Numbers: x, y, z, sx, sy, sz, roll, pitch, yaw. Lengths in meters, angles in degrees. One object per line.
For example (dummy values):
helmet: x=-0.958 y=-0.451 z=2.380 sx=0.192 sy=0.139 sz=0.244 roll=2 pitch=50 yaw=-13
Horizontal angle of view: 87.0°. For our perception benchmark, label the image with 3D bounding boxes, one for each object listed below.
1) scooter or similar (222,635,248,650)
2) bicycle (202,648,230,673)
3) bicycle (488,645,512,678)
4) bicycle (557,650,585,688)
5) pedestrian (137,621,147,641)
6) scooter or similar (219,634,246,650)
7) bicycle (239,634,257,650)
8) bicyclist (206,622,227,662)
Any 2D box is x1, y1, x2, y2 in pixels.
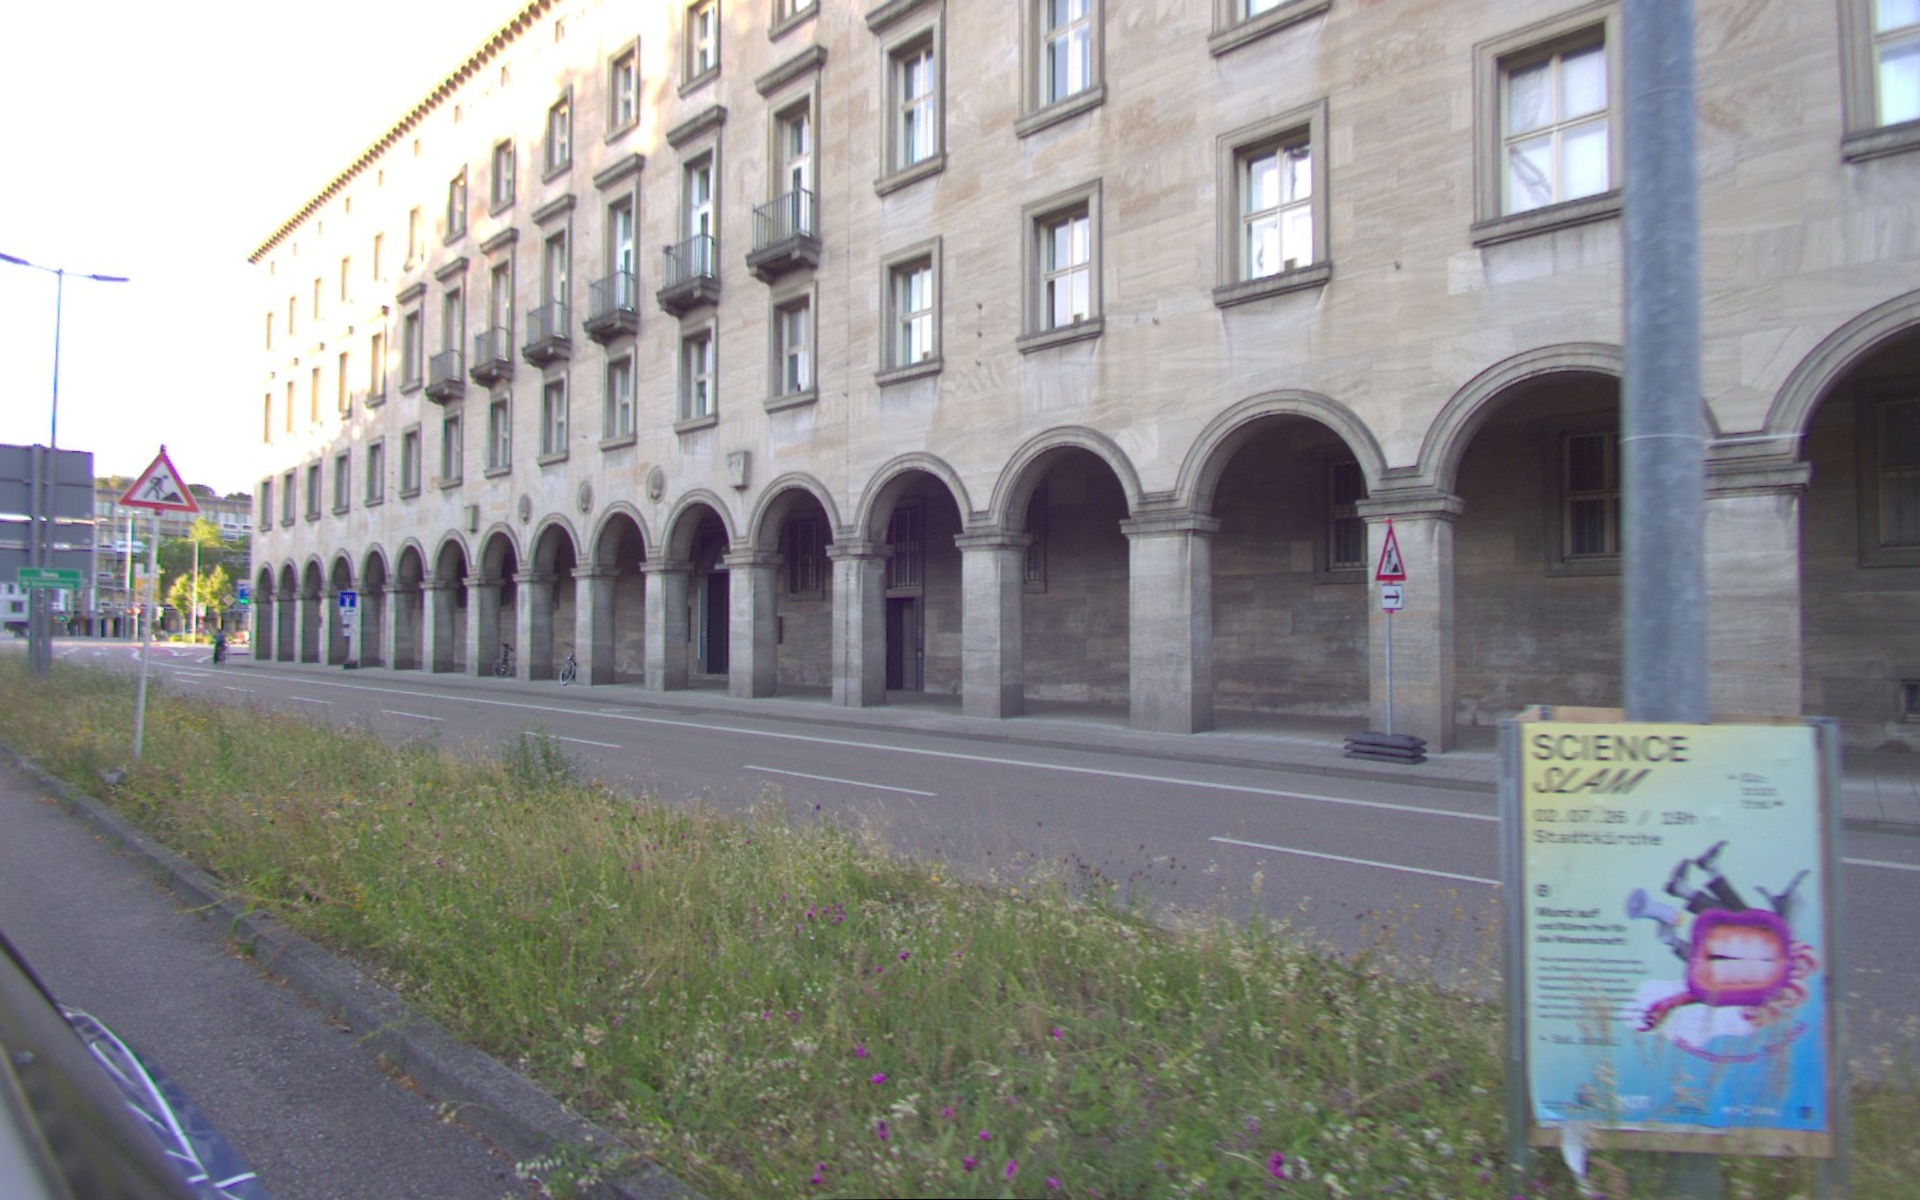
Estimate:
scooter or similar: x=-62.848 y=3.658 z=87.752 sx=0.416 sy=1.315 sz=1.772 roll=-1 pitch=-2 yaw=35
bicycle: x=-32.149 y=2.603 z=43.704 sx=2.004 sy=1.013 sz=0.536 roll=-1 pitch=-2 yaw=41
bicycle: x=-14.660 y=1.946 z=32.237 sx=0.470 sy=1.013 sz=2.011 roll=1 pitch=-2 yaw=-30
bicycle: x=-11.030 y=1.951 z=28.734 sx=0.471 sy=1.013 sz=2.010 roll=1 pitch=-2 yaw=-13
pedestrian: x=-82.145 y=3.090 z=101.650 sx=0.647 sy=1.948 sz=0.652 roll=-3 pitch=-4 yaw=43
scooter or similar: x=-63.272 y=3.660 z=88.034 sx=0.499 sy=1.315 sz=1.842 roll=-1 pitch=-2 yaw=35
bicycle: x=-60.505 y=3.557 z=85.994 sx=2.507 sy=1.334 sz=0.611 roll=-1 pitch=-3 yaw=40
bicyclist: x=-32.109 y=1.819 z=43.701 sx=0.748 sy=1.706 sz=0.531 roll=-1 pitch=-3 yaw=41
